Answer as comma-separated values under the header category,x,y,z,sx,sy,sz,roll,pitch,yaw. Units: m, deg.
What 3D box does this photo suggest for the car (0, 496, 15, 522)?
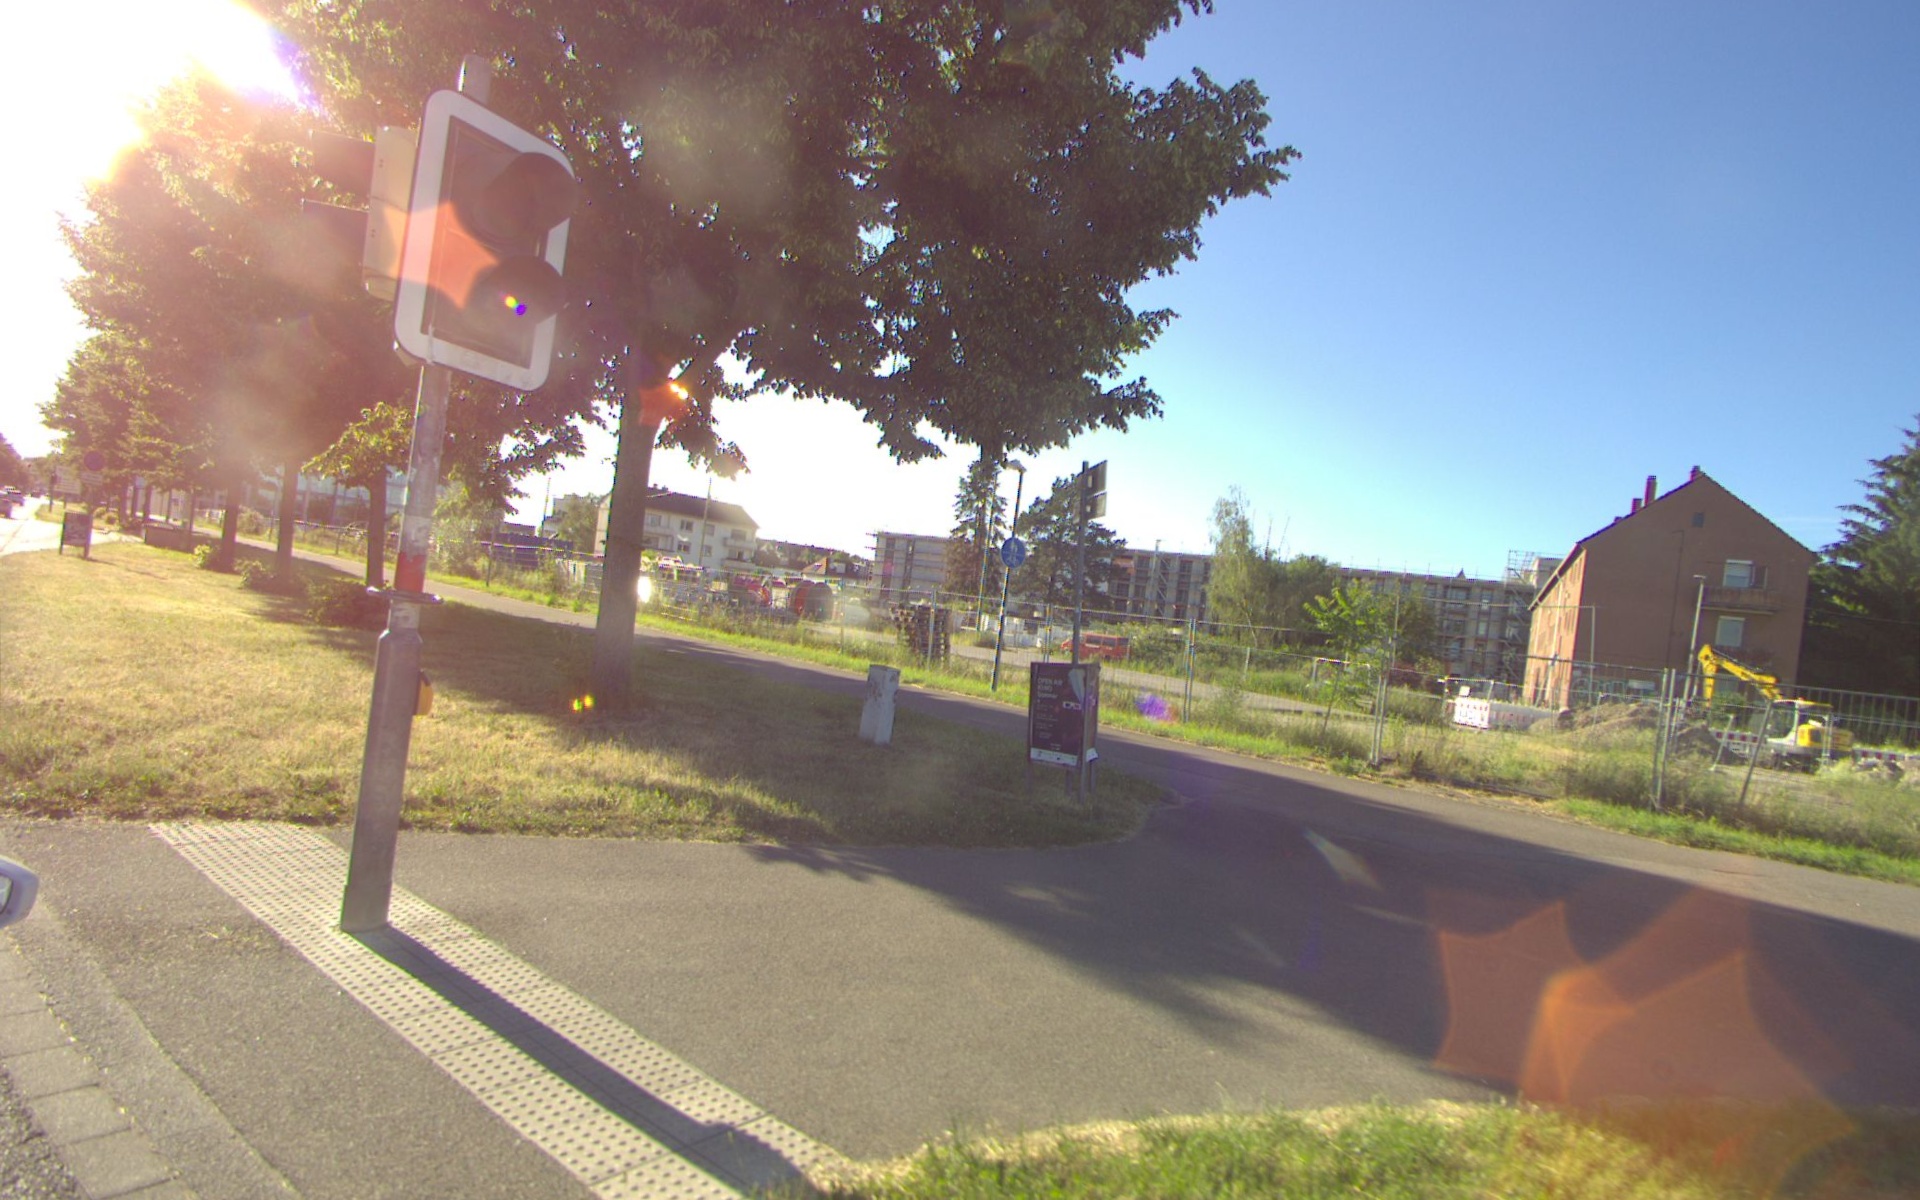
category,x,y,z,sx,sy,sz,roll,pitch,yaw
car,-55.805,-5.365,57.870,1.937,1.363,3.950,8,-1,-44

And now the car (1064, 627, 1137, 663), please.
category,x,y,z,sx,sy,sz,roll,pitch,yaw
car,8.884,2.844,63.756,2.165,1.748,3.953,8,-1,-42

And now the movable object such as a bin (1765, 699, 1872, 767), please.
category,x,y,z,sx,sy,sz,roll,pitch,yaw
movable object such as a bin,30.843,4.732,36.200,1.962,2.037,2.070,7,-1,6

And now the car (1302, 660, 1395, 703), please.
category,x,y,z,sx,sy,sz,roll,pitch,yaw
car,19.951,4.195,51.737,1.987,1.575,3.862,8,0,-42
